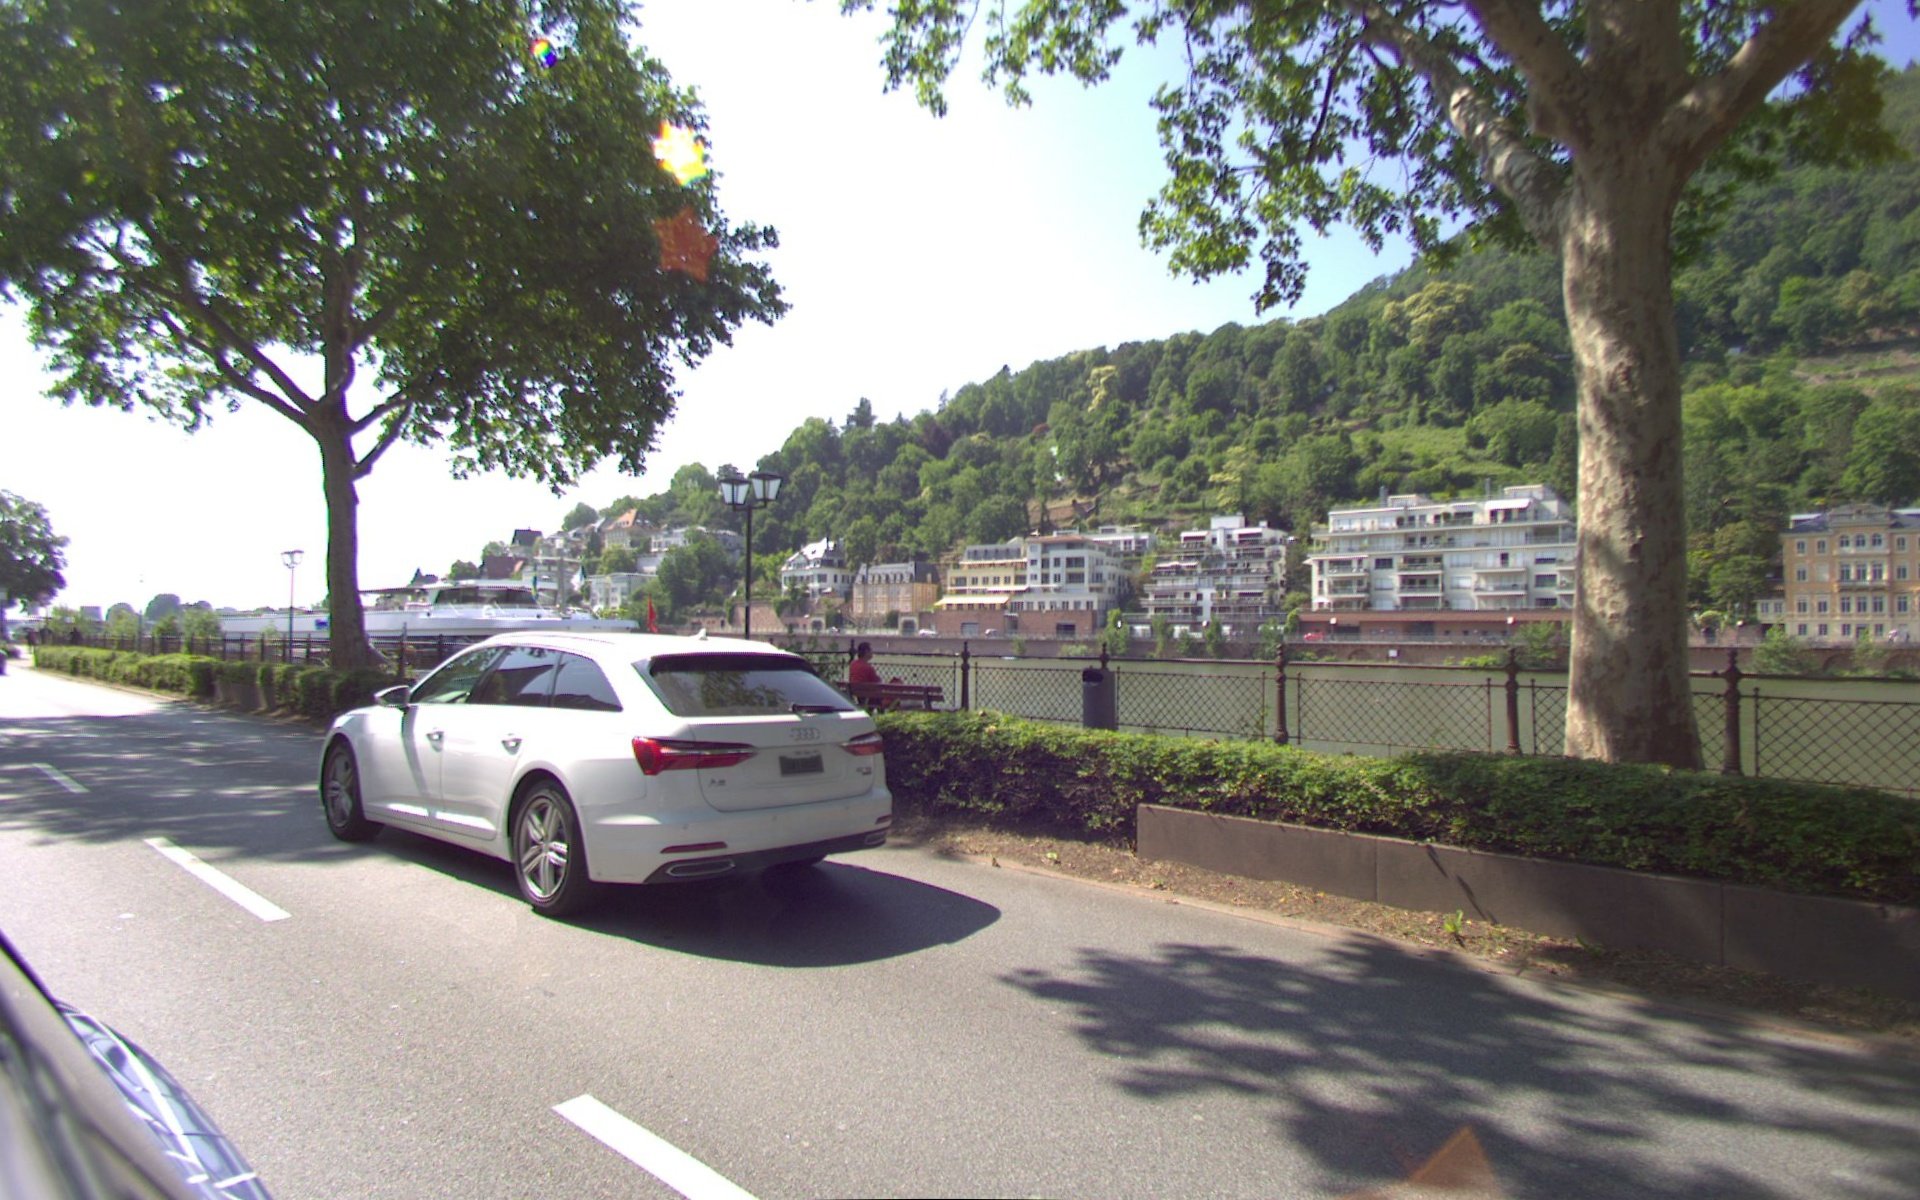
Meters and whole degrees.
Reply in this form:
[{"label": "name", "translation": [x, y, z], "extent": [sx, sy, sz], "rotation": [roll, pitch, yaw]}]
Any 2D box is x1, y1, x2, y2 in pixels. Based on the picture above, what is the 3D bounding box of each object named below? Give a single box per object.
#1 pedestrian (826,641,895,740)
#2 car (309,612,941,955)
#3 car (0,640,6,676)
[{"label": "pedestrian", "translation": [-1.396, 1.250, 14.265], "extent": [0.656, 1.318, 0.695], "rotation": [-1, -1, 42]}, {"label": "car", "translation": [-2.394, 0.906, 6.514], "extent": [4.531, 1.468, 1.751], "rotation": [-2, -5, 41]}, {"label": "car", "translation": [-33.796, 1.930, 34.308], "extent": [3.483, 1.220, 1.681], "rotation": [-2, -4, 40]}]
